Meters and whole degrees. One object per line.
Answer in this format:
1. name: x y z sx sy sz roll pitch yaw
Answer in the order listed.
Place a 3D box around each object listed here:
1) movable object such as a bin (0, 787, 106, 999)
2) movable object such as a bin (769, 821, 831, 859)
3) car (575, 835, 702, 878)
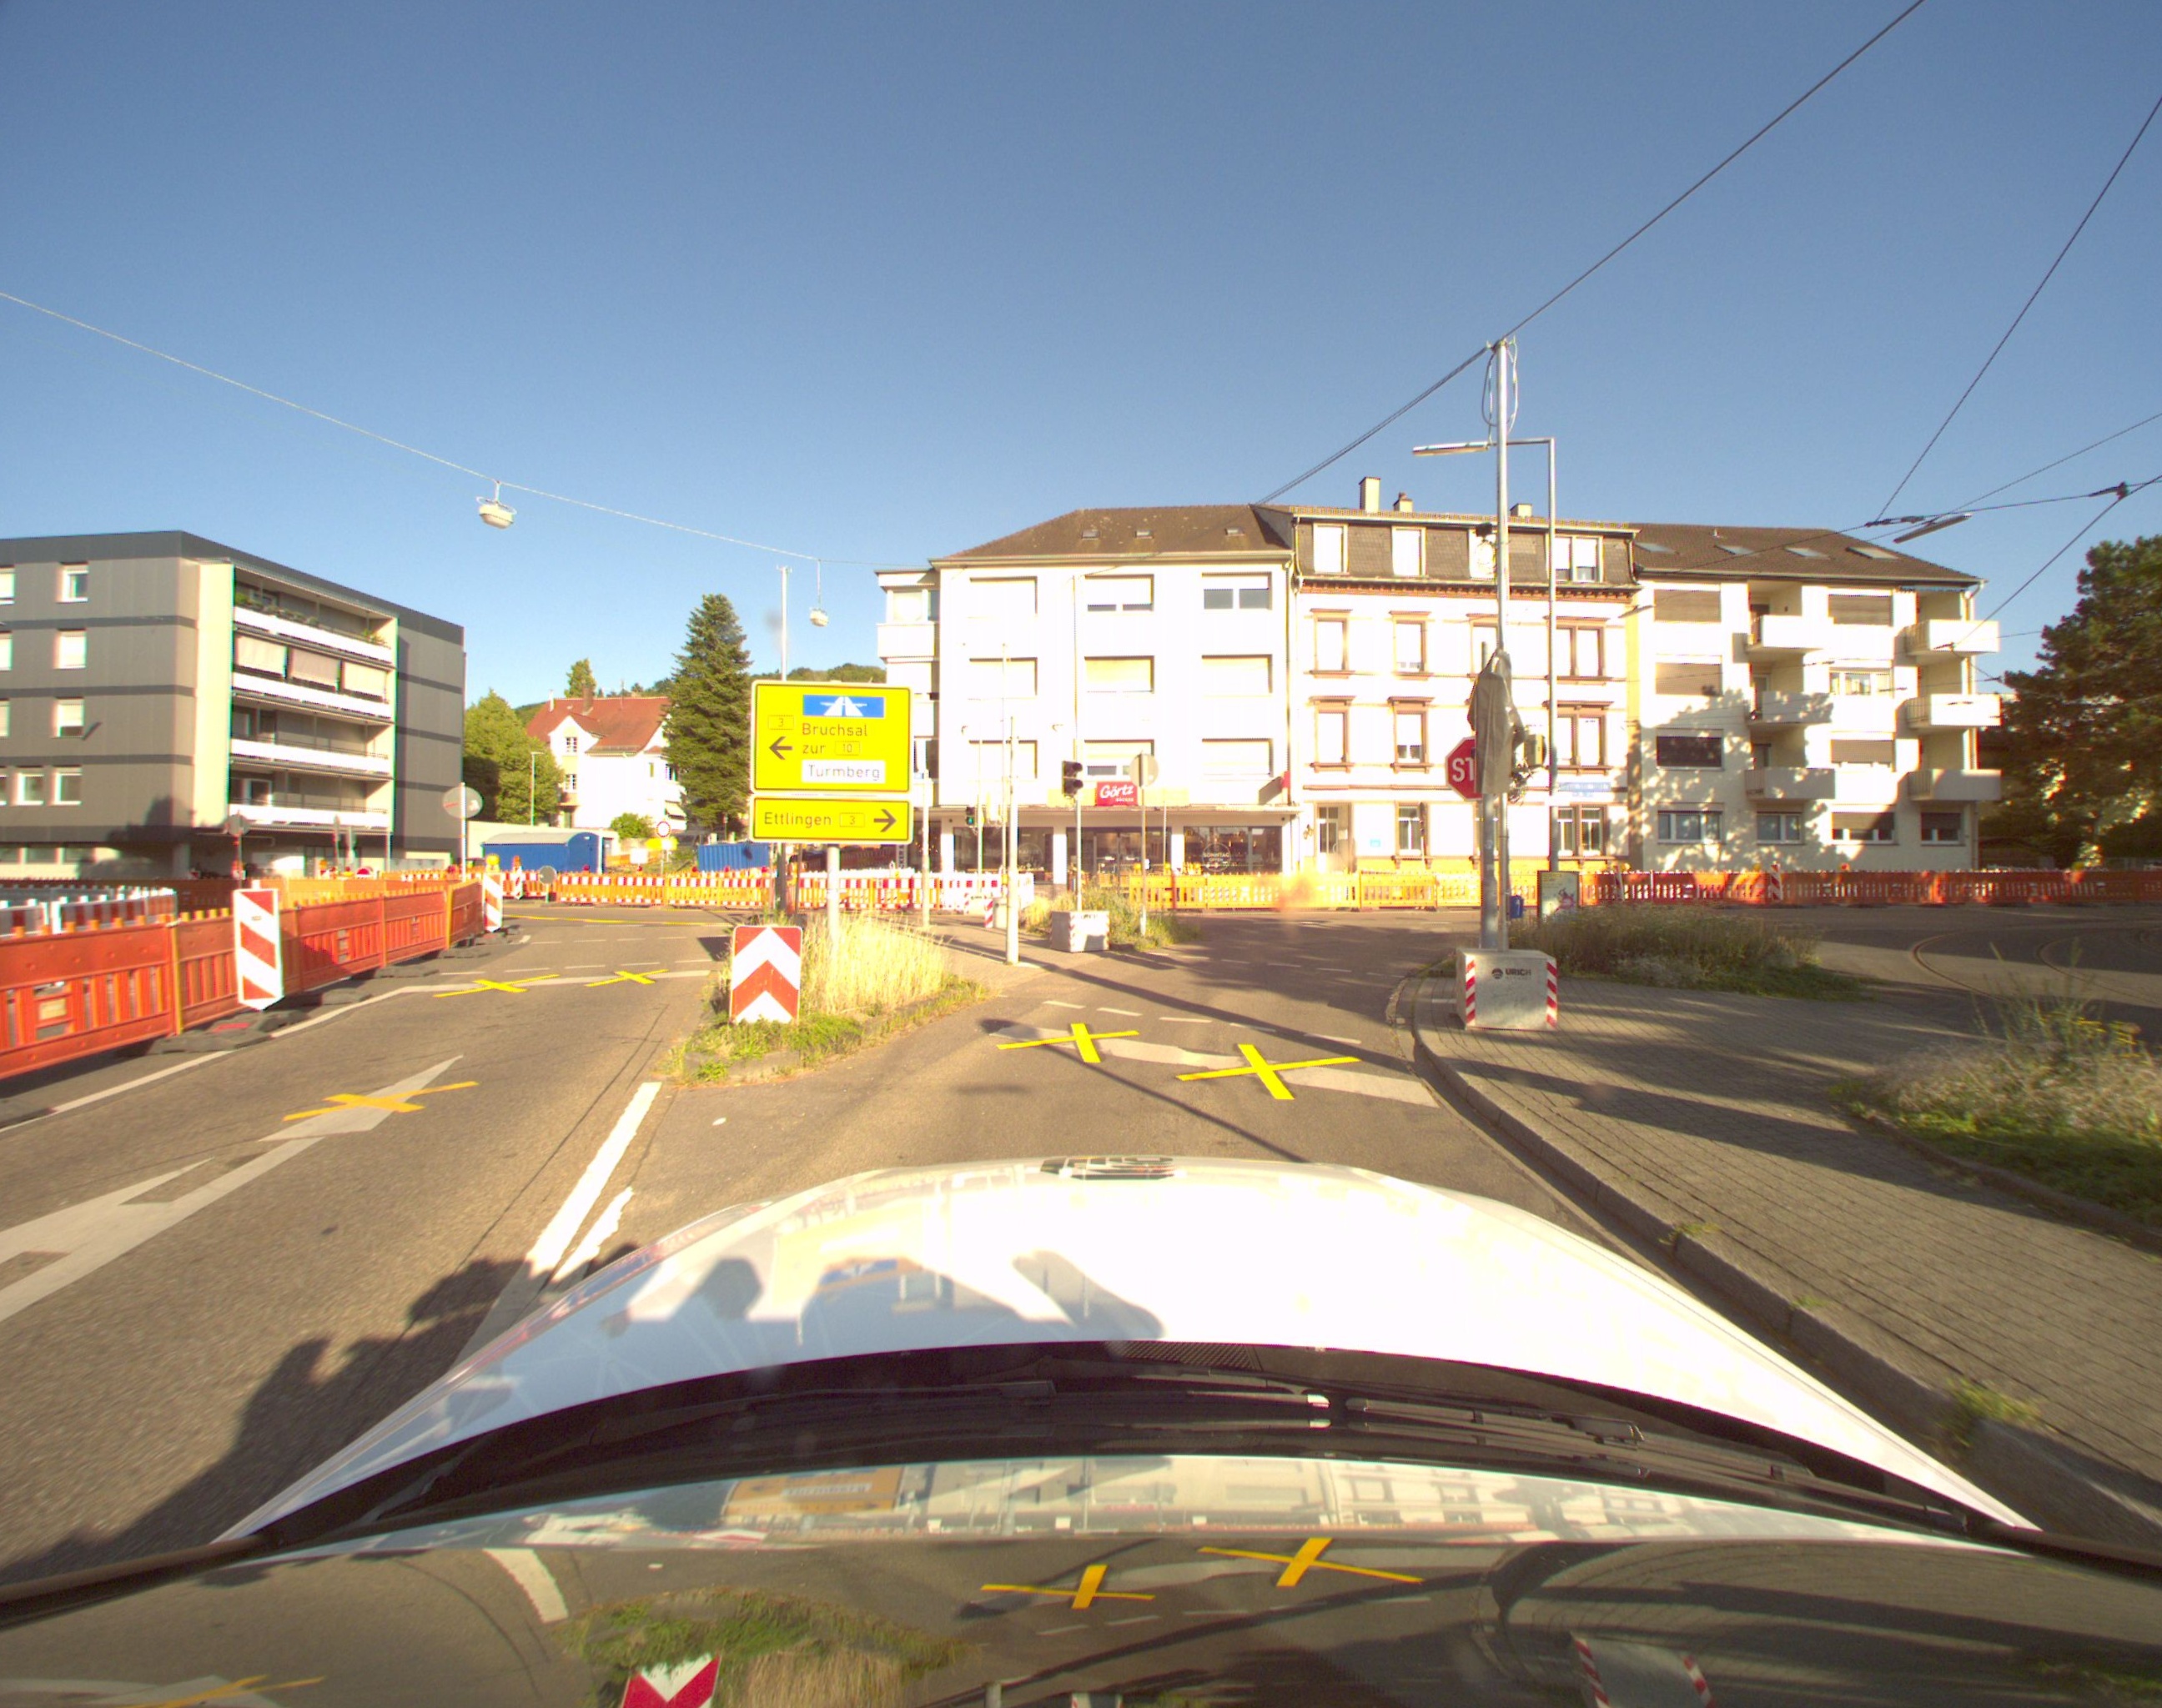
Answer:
1. movable object such as a bin: -12.478 0.434 7.987 1.647 2.324 3.905 -1 0 -12
2. movable object such as a bin: -19.544 -0.944 56.863 1.935 2.494 4.566 -1 -1 12
3. car: -23.418 0.151 43.517 2.566 2.121 6.170 -1 -1 12
